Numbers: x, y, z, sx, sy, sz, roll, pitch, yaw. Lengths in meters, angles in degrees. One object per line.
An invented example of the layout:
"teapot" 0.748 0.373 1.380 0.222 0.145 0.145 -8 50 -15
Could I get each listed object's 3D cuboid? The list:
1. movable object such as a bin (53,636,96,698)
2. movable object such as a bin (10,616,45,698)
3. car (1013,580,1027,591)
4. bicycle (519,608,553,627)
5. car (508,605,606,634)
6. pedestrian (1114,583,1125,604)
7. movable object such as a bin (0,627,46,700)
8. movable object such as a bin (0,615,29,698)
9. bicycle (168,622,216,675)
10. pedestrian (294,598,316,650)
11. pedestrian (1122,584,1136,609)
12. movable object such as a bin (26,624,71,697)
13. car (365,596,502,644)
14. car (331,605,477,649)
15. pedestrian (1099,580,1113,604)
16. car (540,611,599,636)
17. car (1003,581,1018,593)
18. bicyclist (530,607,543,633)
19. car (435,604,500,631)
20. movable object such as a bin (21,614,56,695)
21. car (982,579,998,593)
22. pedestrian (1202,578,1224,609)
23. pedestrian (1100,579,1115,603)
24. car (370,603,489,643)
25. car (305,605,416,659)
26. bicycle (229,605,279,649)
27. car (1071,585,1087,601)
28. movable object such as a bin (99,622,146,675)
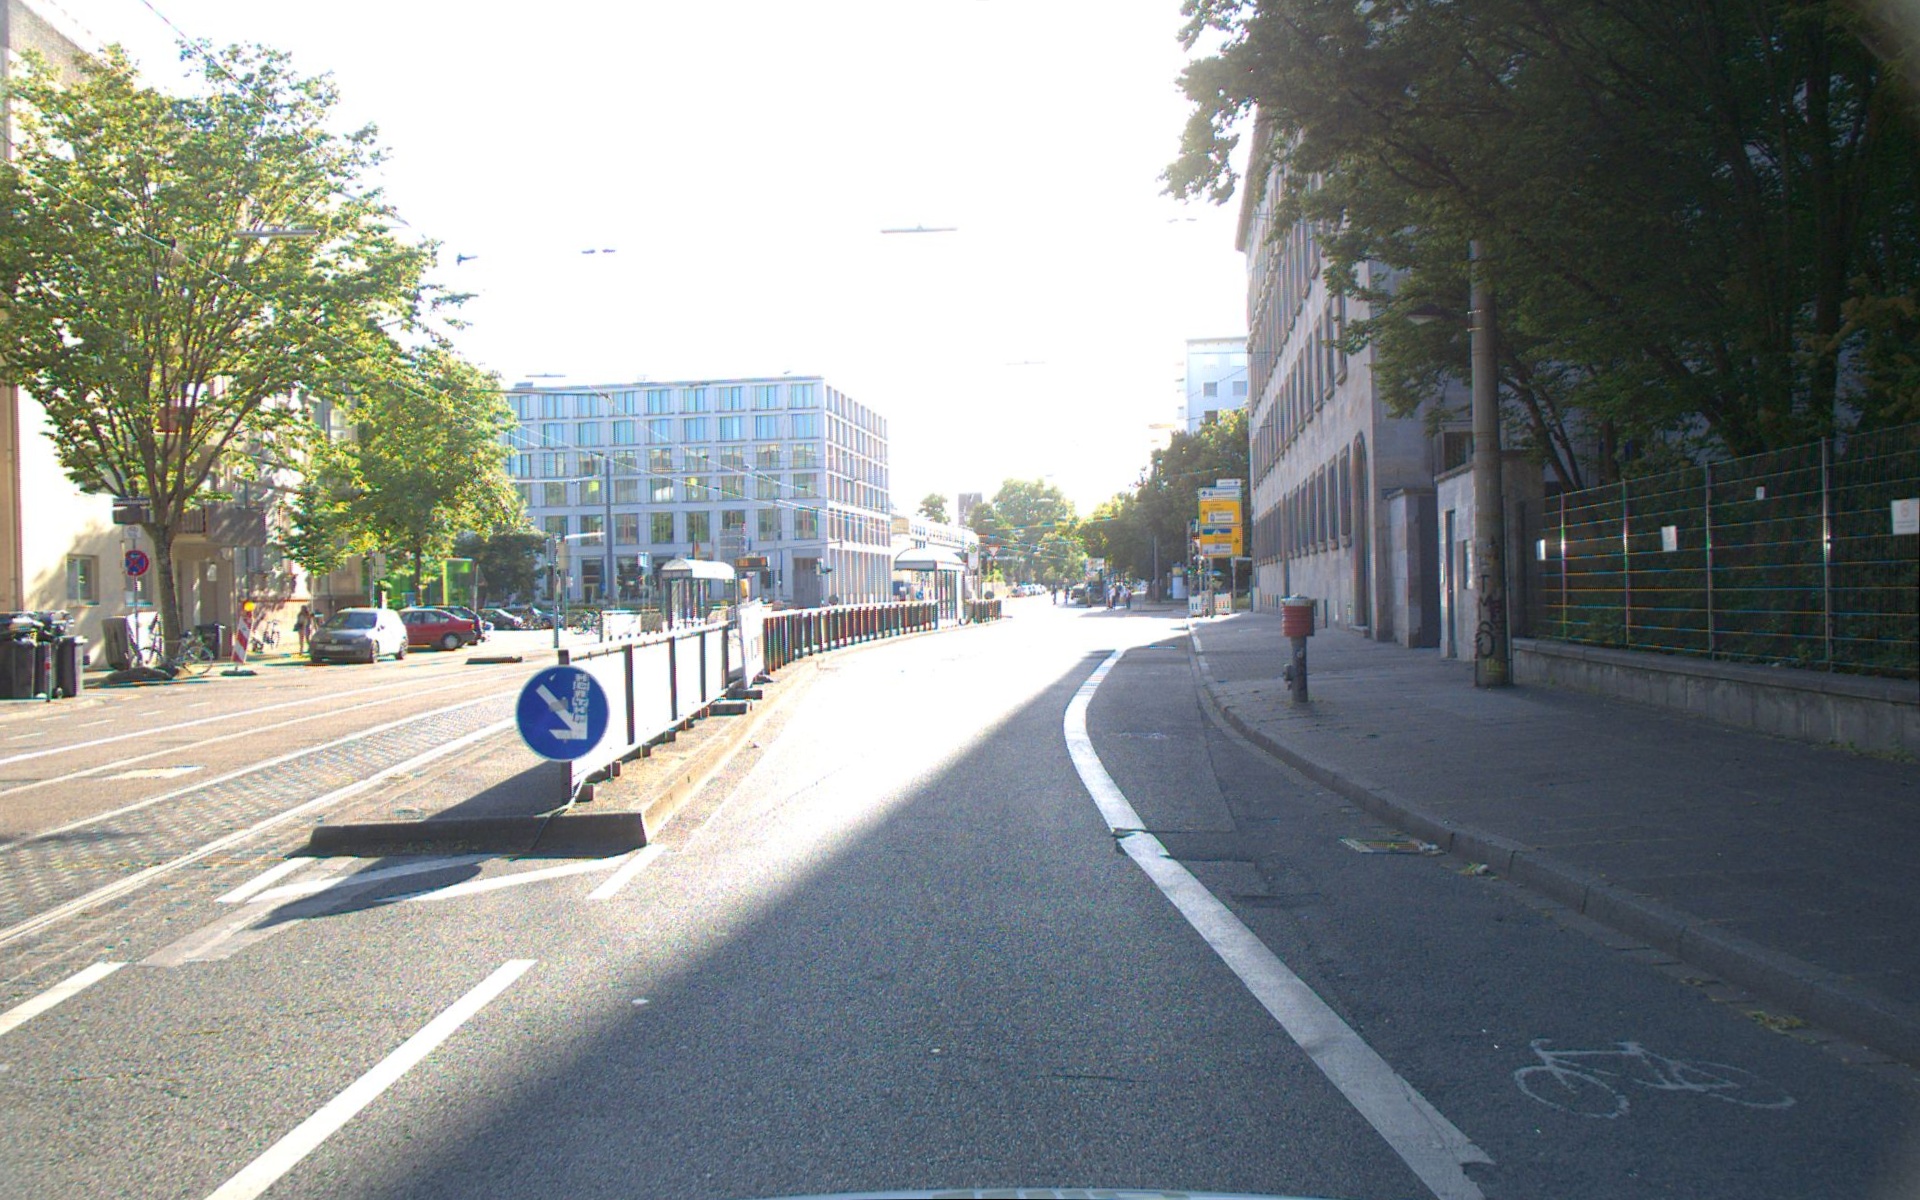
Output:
"movable object such as a bin" -16.099 1.217 30.090 0.371 1.087 0.640 -1 0 7
"movable object such as a bin" -16.864 1.031 29.910 0.371 1.452 0.386 -1 0 7
"car" 8.777 -2.157 242.443 1.575 1.524 3.808 -2 0 7
"bicycle" -26.463 1.107 103.306 1.883 1.142 0.790 -2 0 2
"car" -19.499 0.952 80.066 4.444 1.374 1.577 0 -1 -25
"pedestrian" 12.307 -0.472 127.643 0.748 1.586 0.587 -2 0 -9
"movable object such as a bin" -16.248 1.098 28.684 0.371 1.224 0.640 -1 0 7
"movable object such as a bin" -16.898 1.009 29.450 0.371 1.452 0.388 -1 0 7
"bicycle" -17.268 1.077 37.223 0.258 1.136 1.406 -1 0 7
"pedestrian" -21.694 0.786 54.758 0.500 1.700 0.490 -1 0 0
"pedestrian" 12.942 -0.272 126.607 0.832 1.815 0.778 -2 0 -9
"movable object such as a bin" -16.168 1.068 29.341 0.371 1.263 0.640 -1 0 7
"car" -18.915 0.701 59.483 4.470 1.670 1.568 0 -1 -39
"car" -18.980 0.923 56.536 4.461 1.450 1.851 0 -1 -34
"pedestrian" 11.279 -0.591 127.574 0.832 1.815 0.778 -2 0 -9
"car" -25.828 1.550 109.461 3.455 1.532 1.523 -1 0 5
"car" 7.285 -1.889 238.579 1.781 1.742 3.808 -2 0 7
"bicyclist" -26.440 1.262 103.301 0.605 1.610 0.594 -2 0 1
"car" -30.042 1.056 100.924 3.455 1.532 1.523 -1 0 5
"movable object such as a bin" -16.881 0.991 30.289 0.371 1.452 0.388 -1 0 7
"car" 4.163 -1.924 227.151 1.781 1.742 3.808 -2 0 7
"pedestrian" 14.642 -0.350 95.605 1.019 1.751 1.034 -2 0 -4
"pedestrian" 11.211 -0.665 125.459 0.948 1.815 0.778 -2 0 -9
"car" -21.527 0.922 67.121 4.444 1.597 1.577 0 -1 -25
"car" -16.972 0.871 47.023 1.671 1.435 4.291 0 0 -1
"bicycle" -23.804 0.874 55.807 0.703 1.422 3.006 -1 0 -7
"car" 13.436 -0.820 187.020 1.648 1.768 3.511 0 -1 7
"movable object such as a bin" -18.488 1.059 36.539 0.416 1.146 1.147 -1 0 1
